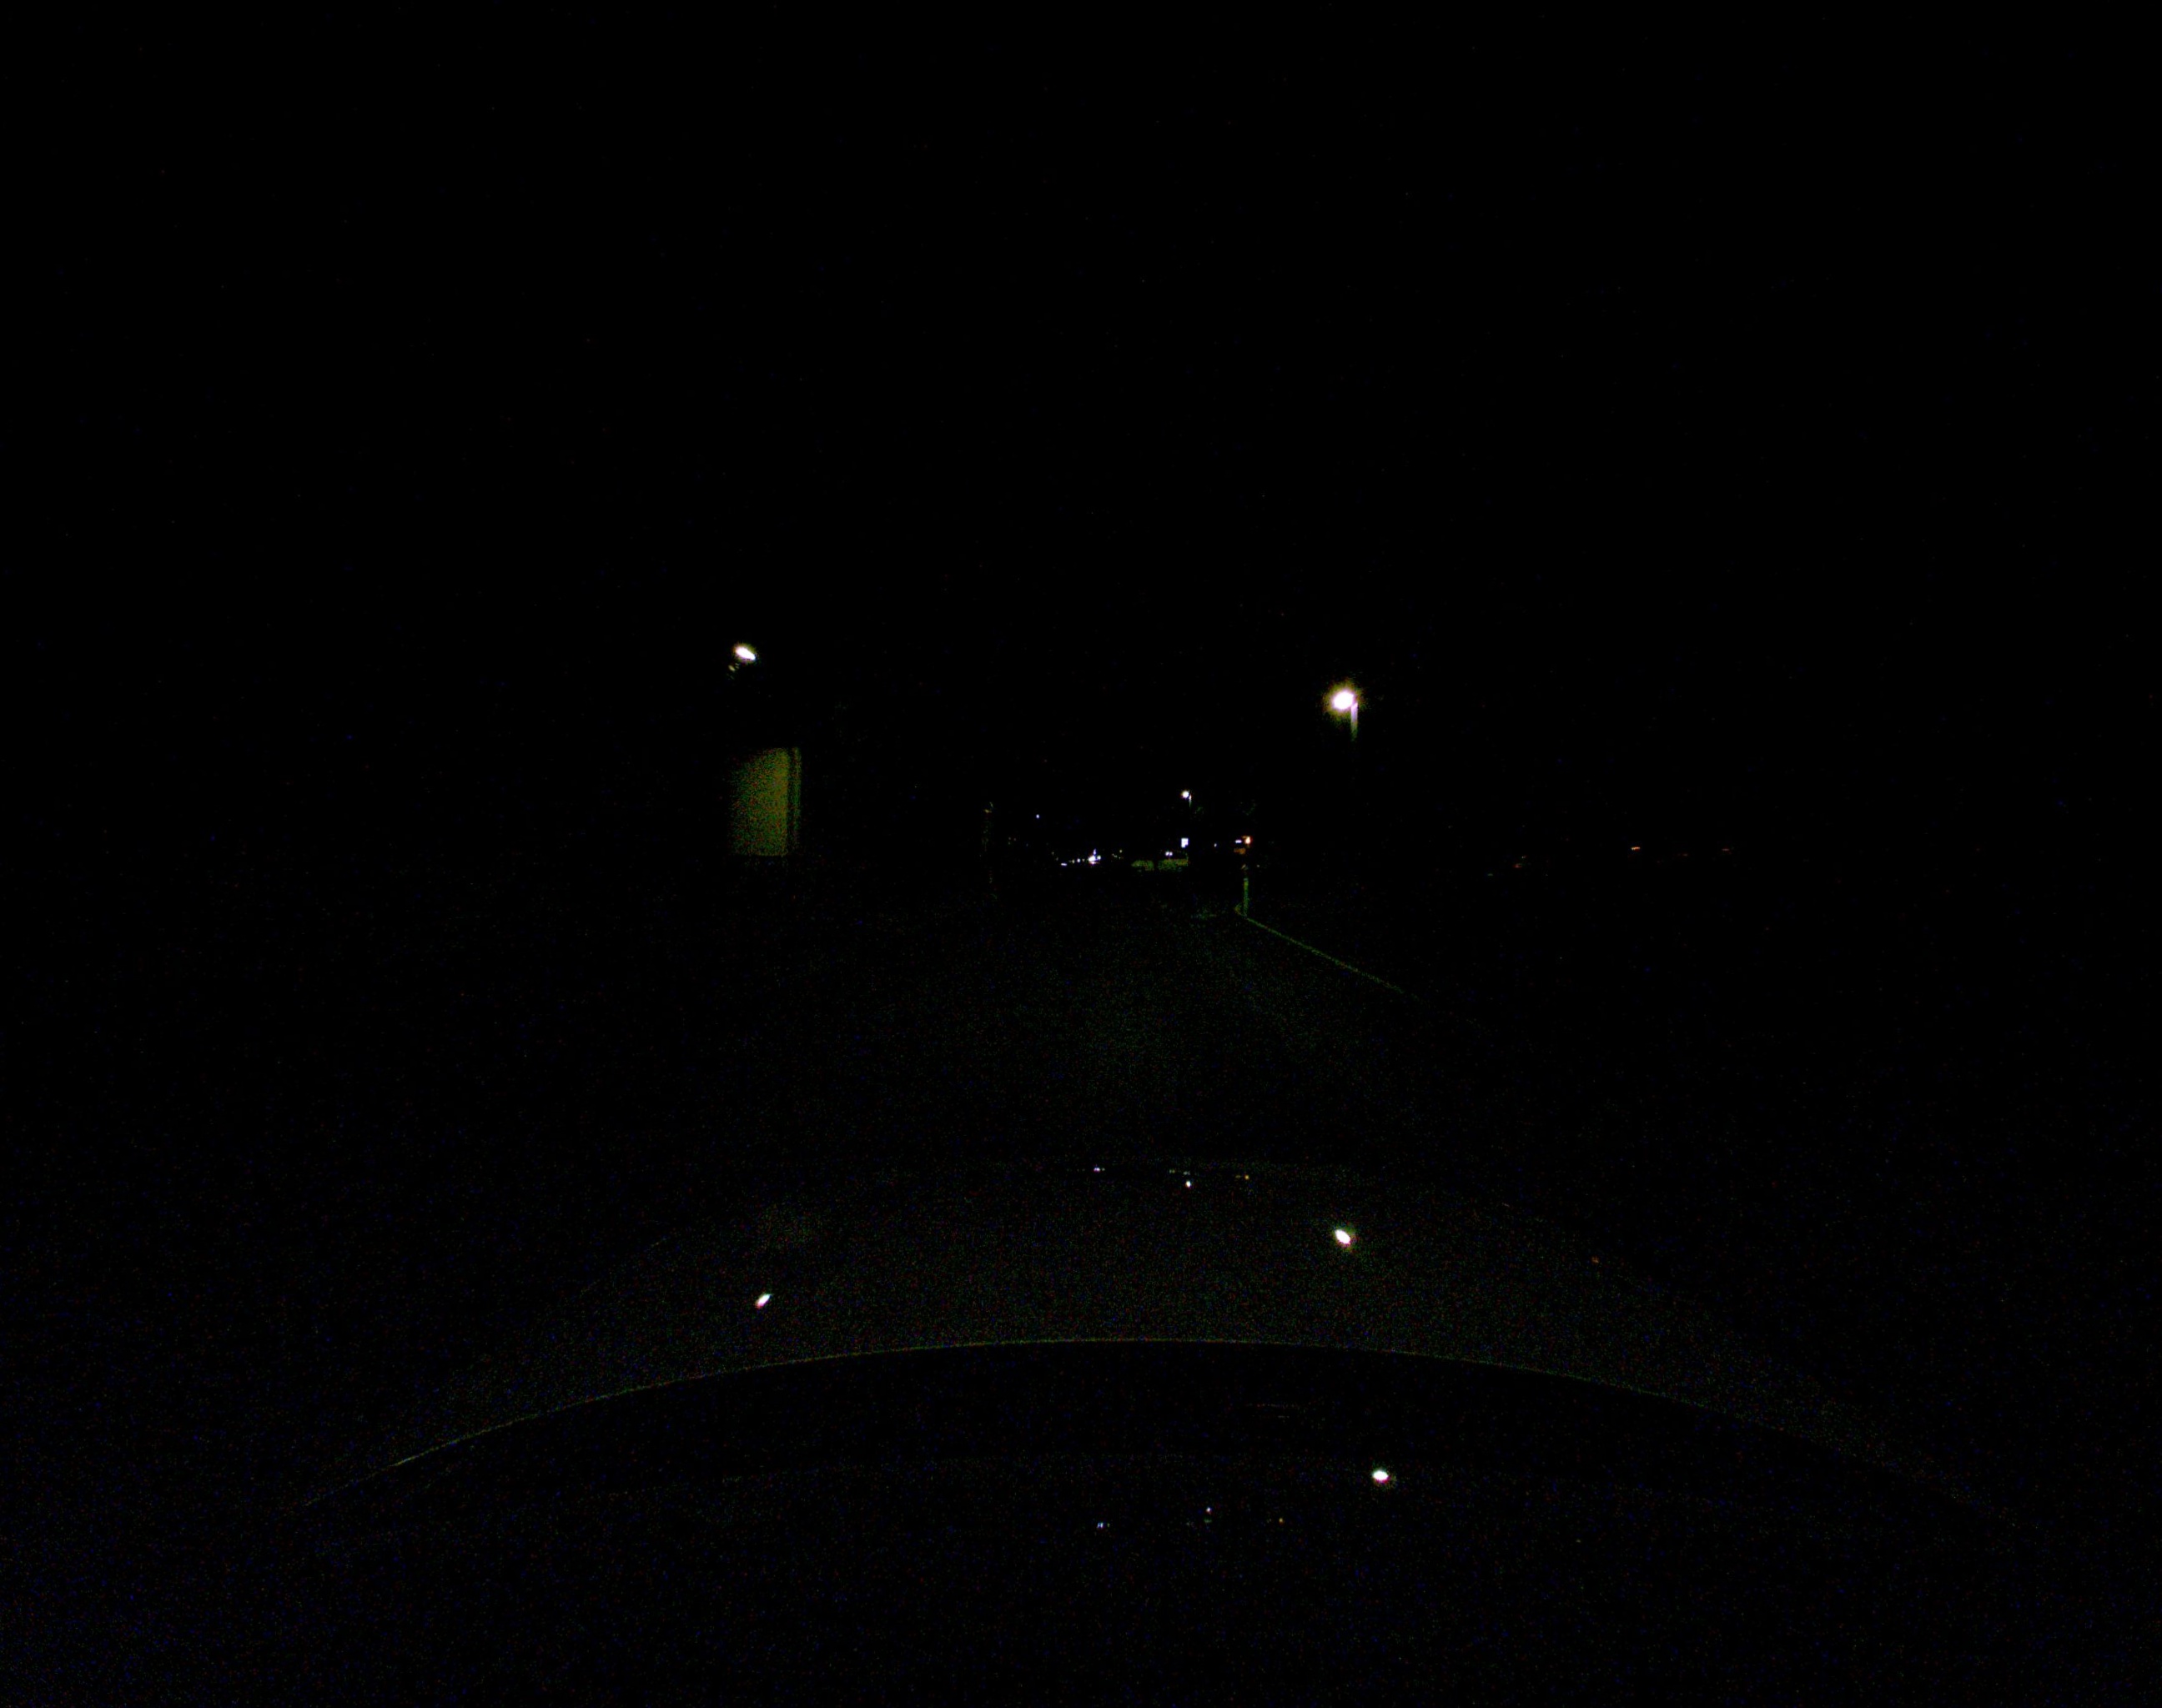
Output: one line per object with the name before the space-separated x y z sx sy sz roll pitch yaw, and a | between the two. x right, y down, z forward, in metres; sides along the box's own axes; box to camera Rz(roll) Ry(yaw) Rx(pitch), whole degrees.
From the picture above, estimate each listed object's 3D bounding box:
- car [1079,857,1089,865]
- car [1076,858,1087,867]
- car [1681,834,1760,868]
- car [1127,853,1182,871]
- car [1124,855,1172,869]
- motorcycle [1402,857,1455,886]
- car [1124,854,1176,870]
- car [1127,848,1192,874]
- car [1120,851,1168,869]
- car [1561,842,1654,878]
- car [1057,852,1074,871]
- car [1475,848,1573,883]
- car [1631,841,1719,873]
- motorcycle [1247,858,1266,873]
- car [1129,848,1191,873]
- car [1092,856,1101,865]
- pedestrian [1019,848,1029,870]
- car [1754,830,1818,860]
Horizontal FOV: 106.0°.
car | 0.510 1.181 141.037 1.677 1.331 3.599 0 0 0
car | 0.081 1.296 124.926 1.677 1.331 3.599 0 0 0
car | 34.508 -0.176 43.937 4.340 1.670 1.746 -2 0 -29
car | 7.162 0.802 79.354 5.165 1.594 2.101 -1 0 0
car | 7.410 0.885 90.362 5.165 1.469 2.101 -1 0 0
motorcycle | 15.771 0.773 36.947 2.262 1.214 0.708 -1 0 -14
car | 7.156 0.830 84.849 5.165 1.594 2.101 -1 0 0
car | 6.530 0.601 68.246 5.165 2.013 2.101 -1 0 0
car | 7.190 0.675 93.041 5.149 1.887 2.108 -1 0 11
car | 25.058 0.272 38.766 4.032 1.548 1.602 -1 0 -20
car | -1.723 0.855 92.372 1.819 1.986 4.465 2 0 0
car | 20.251 0.501 37.294 3.625 1.479 1.855 -1 0 -14
car | 30.117 0.146 41.238 4.723 1.474 1.746 -2 0 -29
motorcycle | 16.009 1.008 74.112 1.060 1.327 2.722 0 1 25
car | 6.896 0.574 71.377 5.165 2.013 2.101 -1 0 0
car | 3.252 1.350 171.449 1.920 1.649 3.821 -1 0 0
pedestrian | -5.435 0.496 77.440 0.782 2.013 1.205 2 0 2
car | 41.037 -0.516 47.397 3.550 1.670 1.653 -1 0 -28
